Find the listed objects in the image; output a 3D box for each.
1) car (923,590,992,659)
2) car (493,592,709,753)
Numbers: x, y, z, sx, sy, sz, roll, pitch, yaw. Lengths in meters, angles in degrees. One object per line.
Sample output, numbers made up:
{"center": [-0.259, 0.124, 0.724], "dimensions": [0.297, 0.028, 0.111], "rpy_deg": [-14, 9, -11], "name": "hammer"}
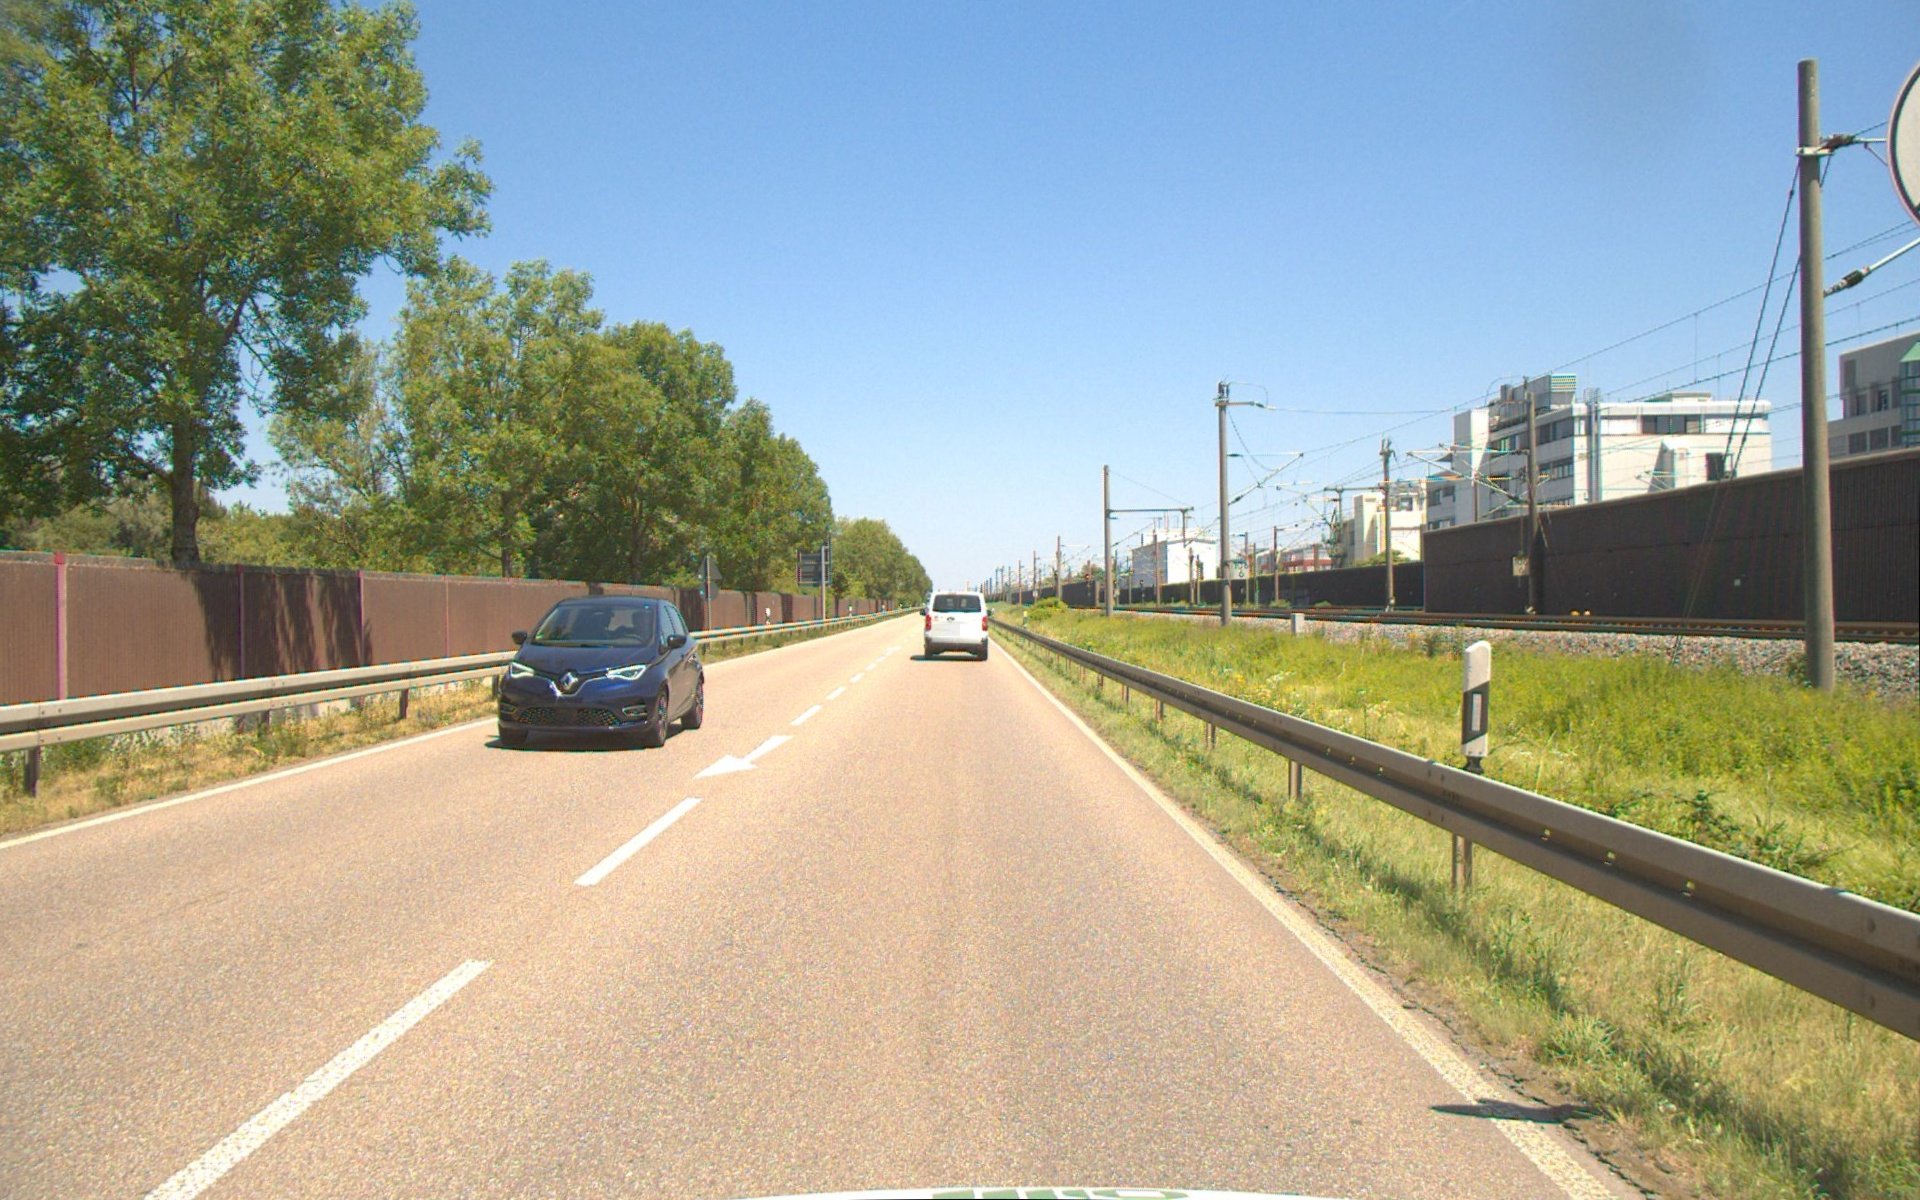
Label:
{"center": [-0.086, 0.711, 48.414], "dimensions": [1.906, 1.914, 4.880], "rpy_deg": [0, 0, 0], "name": "car"}
{"center": [-3.885, 0.716, 18.456], "dimensions": [1.589, 1.605, 3.763], "rpy_deg": [0, 0, 0], "name": "car"}
